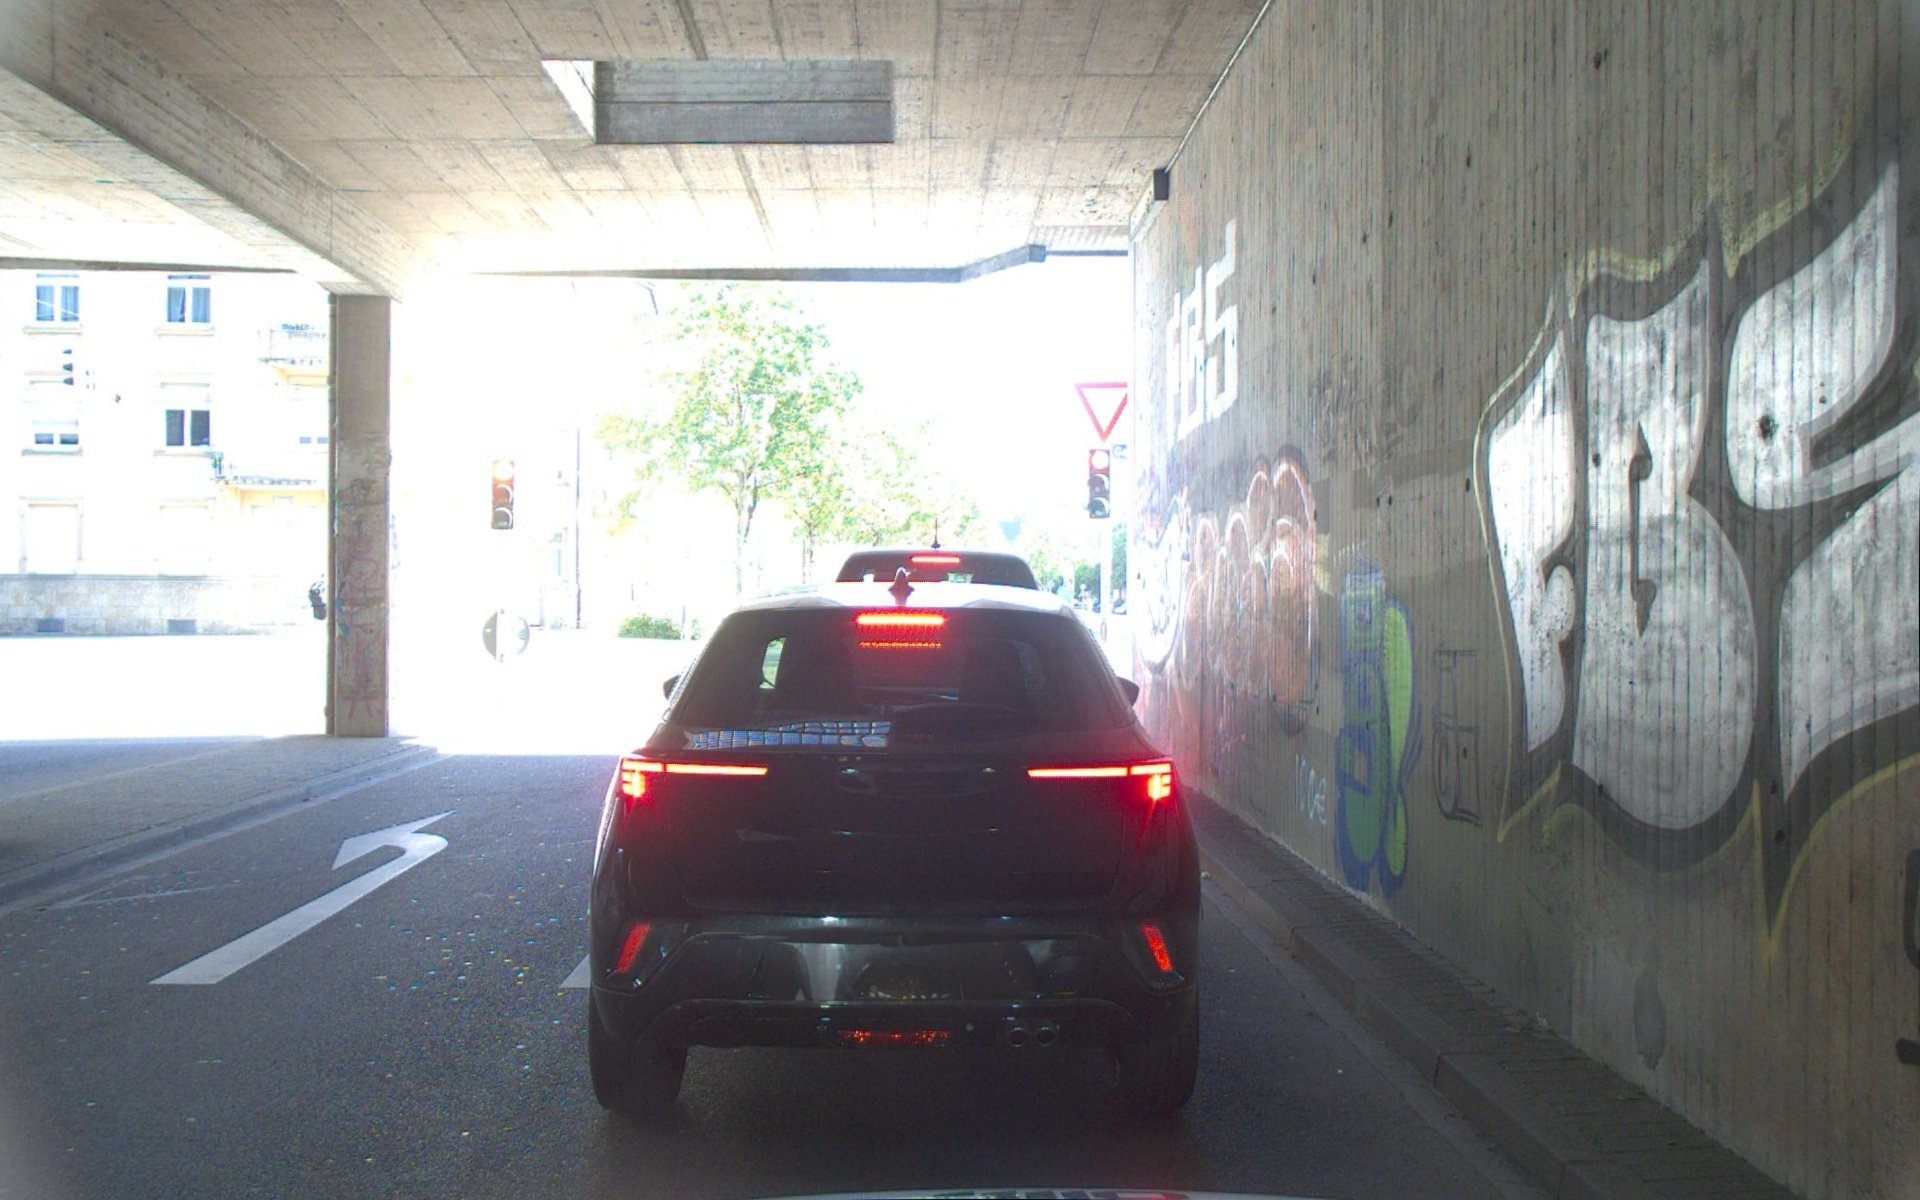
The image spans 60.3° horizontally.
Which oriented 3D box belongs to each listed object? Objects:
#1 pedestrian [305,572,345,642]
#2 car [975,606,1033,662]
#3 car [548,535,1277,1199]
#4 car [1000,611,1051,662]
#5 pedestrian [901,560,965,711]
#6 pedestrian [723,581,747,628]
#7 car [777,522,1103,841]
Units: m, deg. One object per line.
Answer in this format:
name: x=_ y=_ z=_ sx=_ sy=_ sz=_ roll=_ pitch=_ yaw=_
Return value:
pedestrian: x=-15.195 y=0.170 z=39.596 sx=0.658 sy=1.666 sz=0.740 roll=1 pitch=-1 yaw=-1
car: x=1.703 y=1.249 z=62.328 sx=1.951 sy=2.004 sz=4.166 roll=1 pitch=0 yaw=4
car: x=-0.140 y=0.611 z=5.978 sx=1.729 sy=1.598 sz=4.000 roll=1 pitch=1 yaw=-1
car: x=2.745 y=1.490 z=68.539 sx=1.951 sy=2.004 sz=4.166 roll=1 pitch=0 yaw=4
pedestrian: x=-0.323 y=0.416 z=19.877 sx=0.716 sy=1.764 sz=0.874 roll=1 pitch=-1 yaw=-1
pedestrian: x=-10.234 y=0.195 z=75.276 sx=0.873 sy=2.124 sz=0.808 roll=1 pitch=-1 yaw=7
car: x=-0.145 y=0.475 z=11.943 sx=1.953 sy=1.904 sz=3.999 roll=0 pitch=0 yaw=-1
